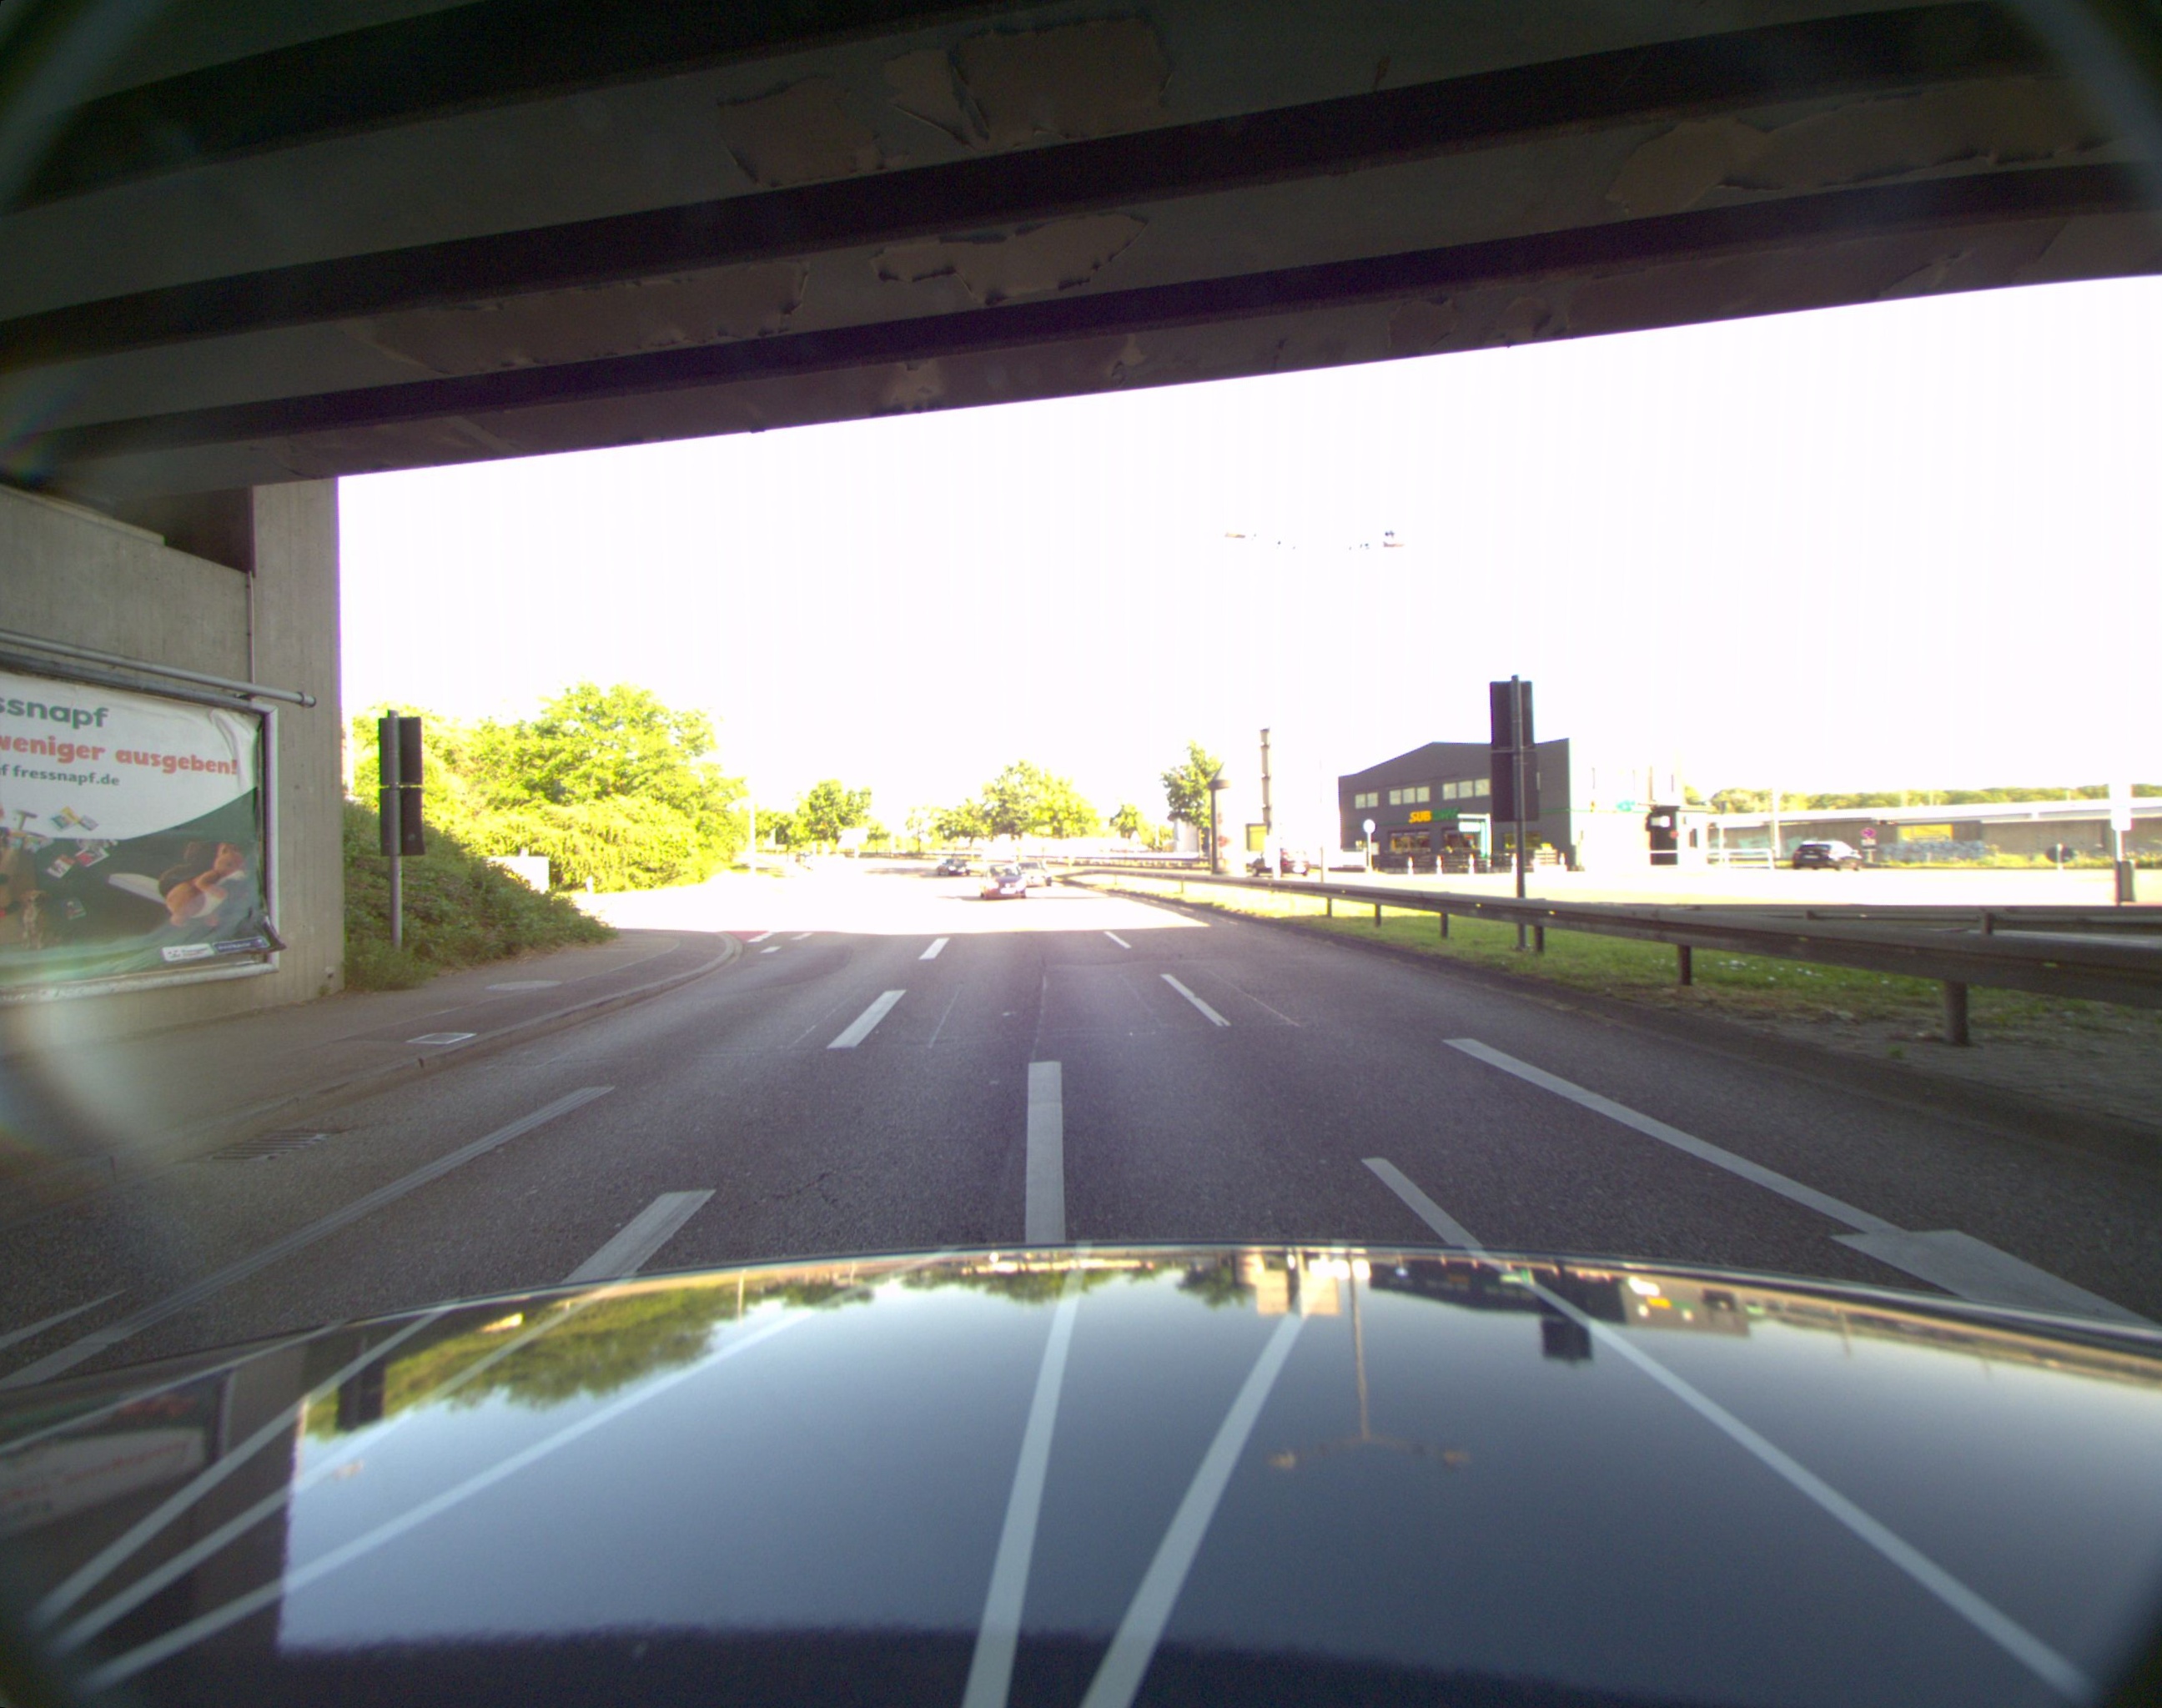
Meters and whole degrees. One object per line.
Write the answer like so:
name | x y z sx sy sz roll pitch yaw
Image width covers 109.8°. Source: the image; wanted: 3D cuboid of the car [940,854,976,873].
car | -10.141 0.776 62.433 1.859 1.471 4.221 -2 1 -23

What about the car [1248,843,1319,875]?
car | 10.745 0.255 40.566 1.831 1.578 4.177 -1 0 -14

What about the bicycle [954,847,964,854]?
bicycle | -16.906 -0.484 105.194 0.595 1.017 1.746 -3 2 -40

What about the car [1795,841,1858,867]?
car | 38.403 0.010 39.122 4.191 1.274 1.825 1 0 -39

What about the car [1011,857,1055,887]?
car | -2.589 0.928 40.287 1.850 1.412 3.977 -1 1 -10

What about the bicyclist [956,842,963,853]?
bicyclist | -16.848 -0.915 105.108 0.595 1.419 0.707 -3 2 -43

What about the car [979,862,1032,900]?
car | -3.193 1.065 31.416 1.739 1.412 4.315 -2 0 -11

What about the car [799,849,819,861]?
car | -37.192 0.154 104.023 1.853 1.474 3.973 -1 -1 -30
